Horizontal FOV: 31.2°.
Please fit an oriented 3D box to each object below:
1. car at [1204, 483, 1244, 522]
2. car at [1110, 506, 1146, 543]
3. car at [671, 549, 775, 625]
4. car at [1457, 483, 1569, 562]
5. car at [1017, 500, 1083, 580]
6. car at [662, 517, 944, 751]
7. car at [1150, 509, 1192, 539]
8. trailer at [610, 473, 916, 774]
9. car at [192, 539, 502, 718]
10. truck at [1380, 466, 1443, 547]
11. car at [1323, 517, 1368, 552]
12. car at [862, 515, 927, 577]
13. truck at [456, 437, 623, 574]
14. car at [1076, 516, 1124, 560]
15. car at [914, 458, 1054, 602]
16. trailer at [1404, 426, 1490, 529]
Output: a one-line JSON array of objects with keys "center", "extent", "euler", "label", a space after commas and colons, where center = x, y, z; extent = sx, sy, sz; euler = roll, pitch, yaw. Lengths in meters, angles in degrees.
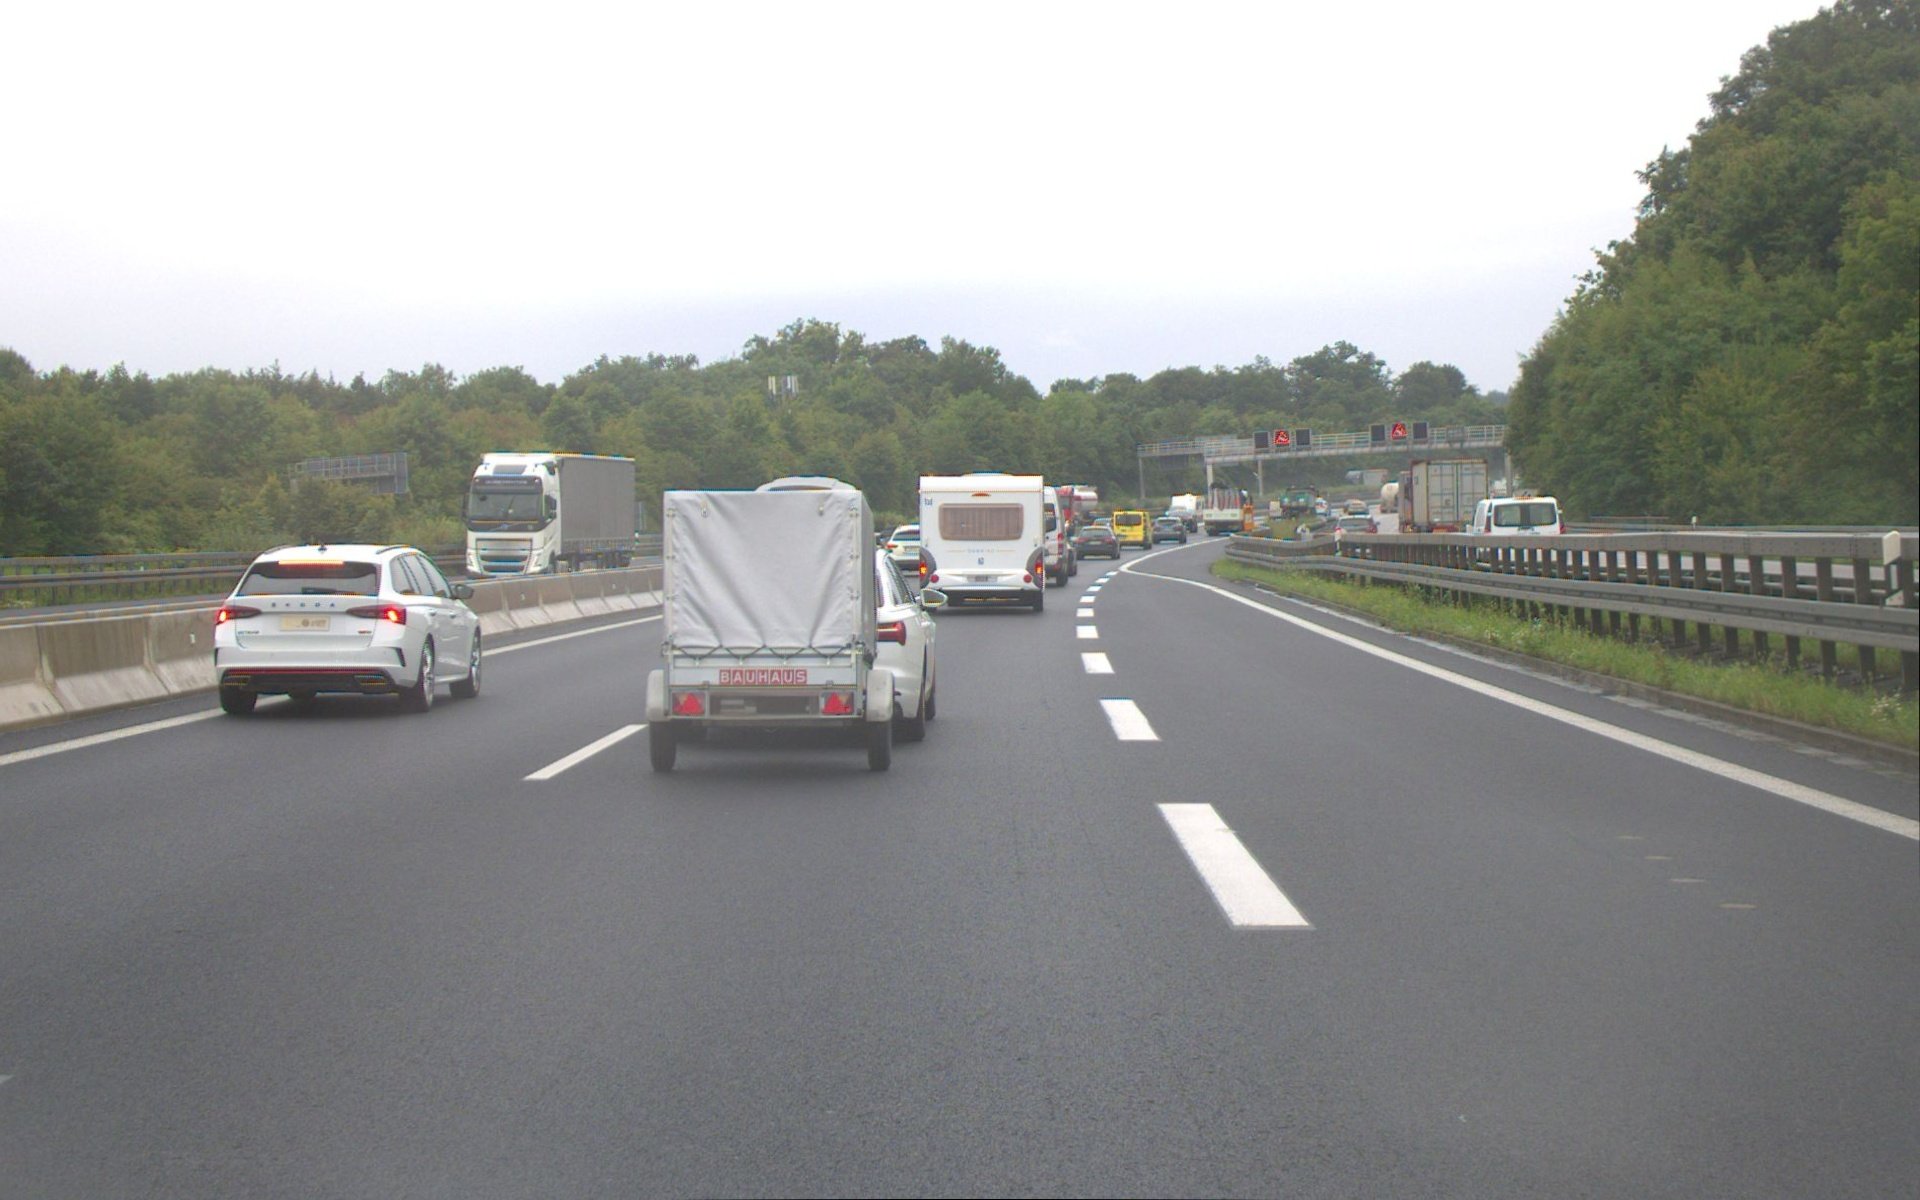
[{"center": [18.587, -6.842, 242.170], "extent": [2.516, 2.566, 5.310], "euler": [-1, 1, 7], "label": "car"}, {"center": [8.711, -3.890, 177.860], "extent": [1.676, 1.806, 3.999], "euler": [-1, 1, 5], "label": "car"}, {"center": [-4.713, -0.271, 68.745], "extent": [1.676, 1.451, 4.000], "euler": [-1, 1, 2], "label": "car"}, {"center": [12.390, -1.719, 77.238], "extent": [1.909, 1.688, 4.718], "euler": [-1, 1, 2], "label": "car"}, {"center": [2.414, -1.590, 91.934], "extent": [1.676, 2.060, 4.000], "euler": [-1, 1, 2], "label": "car"}, {"center": [-1.111, 0.216, 26.413], "extent": [1.818, 1.610, 4.778], "euler": [-1, 1, 1], "label": "car"}, {"center": [12.396, -4.461, 202.080], "extent": [2.038, 1.677, 3.999], "euler": [-1, 1, 9], "label": "car"}, {"center": [-1.228, 0.124, 22.950], "extent": [1.676, 1.806, 4.000], "euler": [-1, 1, 2], "label": "trailer"}, {"center": [-5.407, 0.214, 30.914], "extent": [1.818, 1.451, 4.778], "euler": [-1, 1, 1], "label": "car"}, {"center": [27.303, -5.598, 208.327], "extent": [3.216, 4.650, 13.030], "euler": [-1, 1, 5], "label": "truck"}, {"center": [16.629, -2.825, 148.291], "extent": [1.667, 1.378, 4.125], "euler": [-3, 1, 4], "label": "car"}, {"center": [-2.097, -1.706, 109.941], "extent": [1.993, 1.912, 4.000], "euler": [-1, 1, -1], "label": "car"}, {"center": [-13.298, -2.909, 109.851], "extent": [2.788, 4.078, 12.297], "euler": [-1, 1, 5], "label": "truck"}, {"center": [5.970, -2.630, 146.135], "extent": [1.676, 1.806, 3.999], "euler": [-1, 1, 7], "label": "car"}, {"center": [0.508, -1.302, 65.192], "extent": [2.507, 2.576, 5.699], "euler": [-1, 1, 2], "label": "car"}, {"center": [19.994, -4.963, 141.710], "extent": [2.604, 3.881, 12.489], "euler": [-1, 1, 4], "label": "trailer"}]
